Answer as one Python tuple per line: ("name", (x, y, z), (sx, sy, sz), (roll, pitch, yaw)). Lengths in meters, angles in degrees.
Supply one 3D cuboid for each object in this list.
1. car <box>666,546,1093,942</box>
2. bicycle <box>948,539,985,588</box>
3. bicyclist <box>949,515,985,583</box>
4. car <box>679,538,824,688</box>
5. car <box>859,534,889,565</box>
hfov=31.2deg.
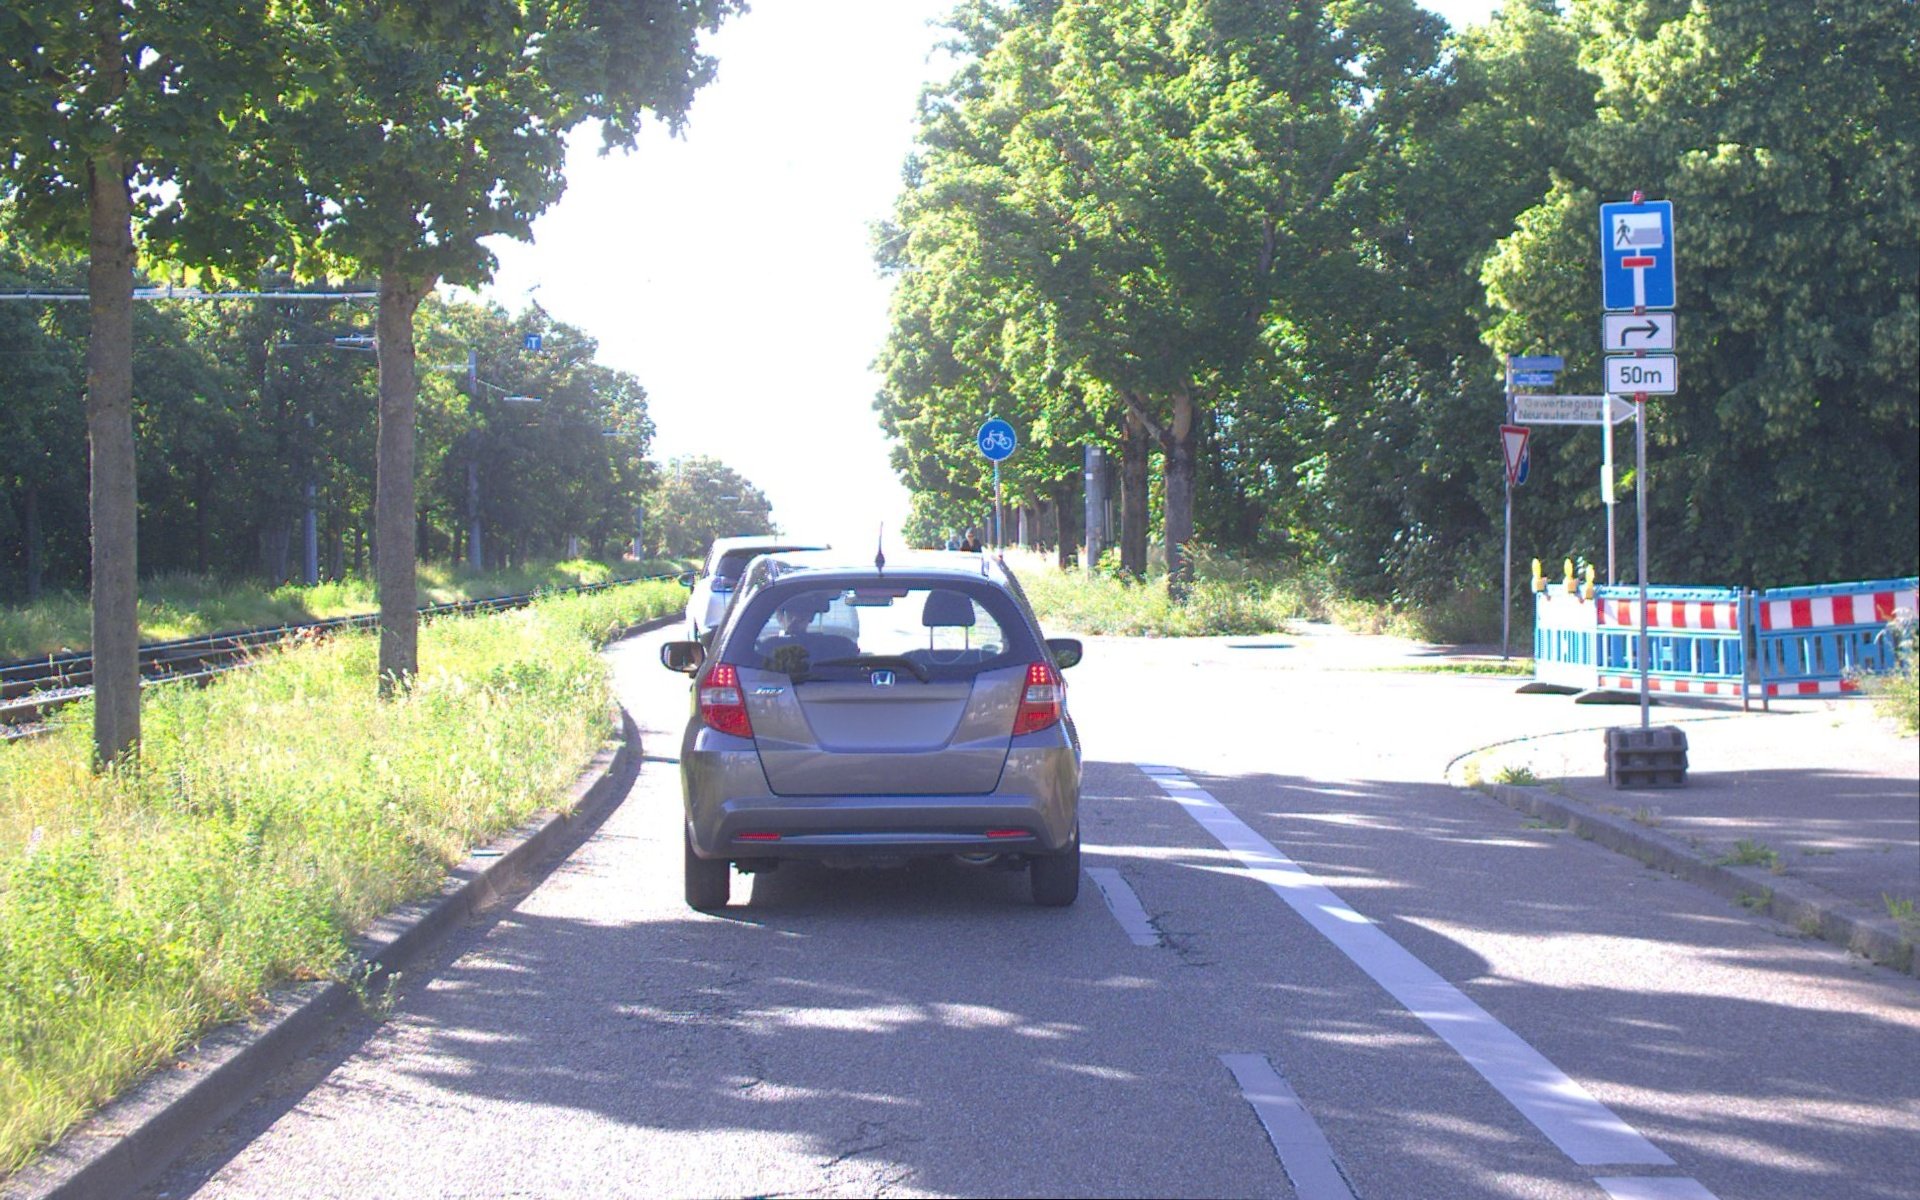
("car", (-0.408, 0.551, 15.572), (1.670, 1.510, 3.674), (1, 1, -3))
("bicycle", (0.150, -0.833, 78.823), (0.818, 1.044, 2.506), (0, -1, 0))
("bicyclist", (0.161, -1.167, 78.846), (0.818, 1.519, 0.966), (0, -1, 0))
("car", (-2.272, 0.141, 37.005), (1.351, 1.522, 3.124), (-1, 0, -7))
("car", (-6.242, -3.660, 249.650), (1.993, 2.007, 4.000), (-4, 0, 0))
